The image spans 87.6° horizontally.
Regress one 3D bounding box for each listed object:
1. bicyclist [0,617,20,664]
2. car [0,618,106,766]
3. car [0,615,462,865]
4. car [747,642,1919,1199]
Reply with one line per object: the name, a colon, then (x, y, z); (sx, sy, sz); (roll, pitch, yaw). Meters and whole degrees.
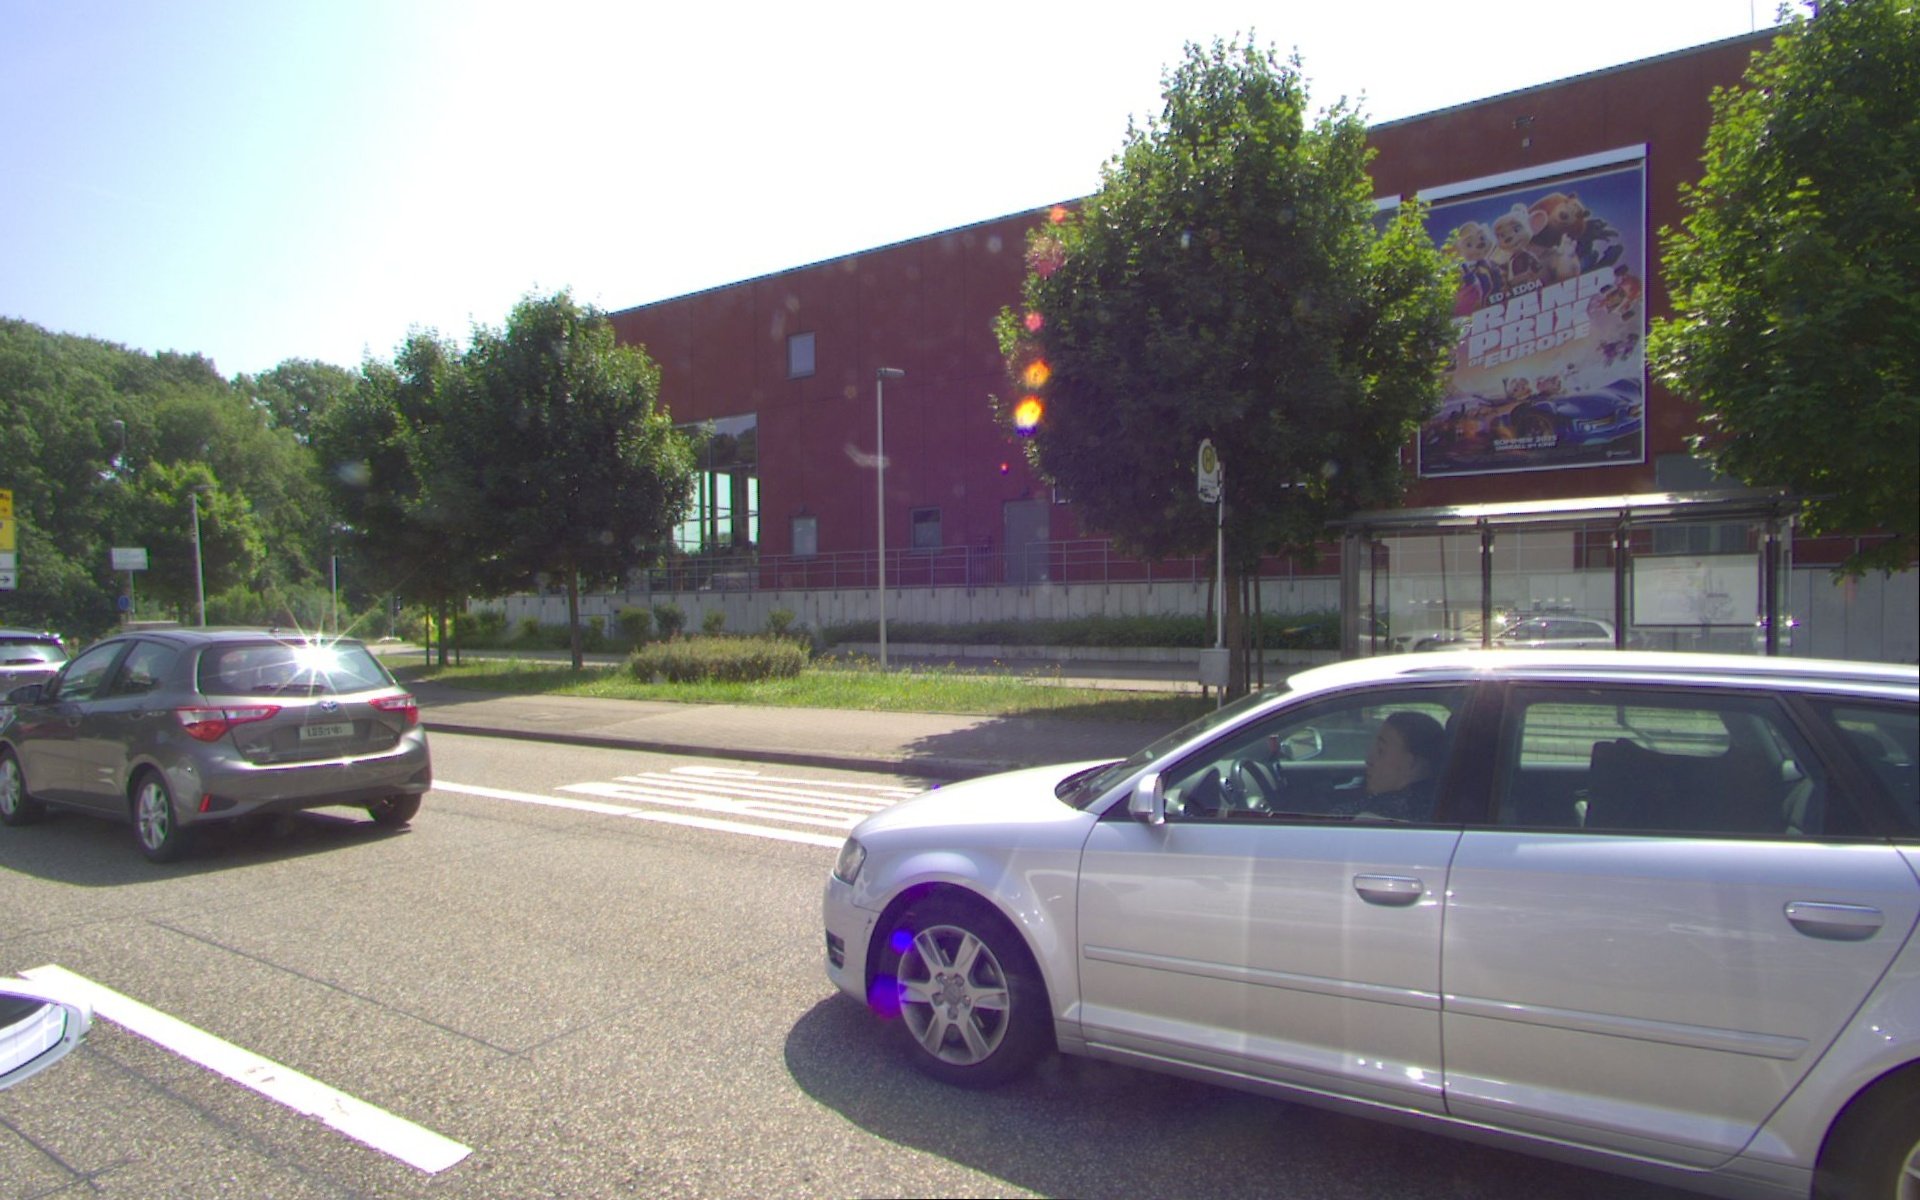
bicyclist: (-30.396, 1.291, 31.618); (0.814, 1.458, 0.598); (-1, 1, -13)
car: (-12.128, 1.025, 11.979); (4.031, 1.614, 1.709); (-1, -1, 31)
car: (-5.923, 0.921, 7.805); (4.031, 1.496, 1.711); (-1, -4, 31)
car: (1.393, 0.847, 3.335); (4.031, 1.379, 1.710); (-1, -2, 31)
